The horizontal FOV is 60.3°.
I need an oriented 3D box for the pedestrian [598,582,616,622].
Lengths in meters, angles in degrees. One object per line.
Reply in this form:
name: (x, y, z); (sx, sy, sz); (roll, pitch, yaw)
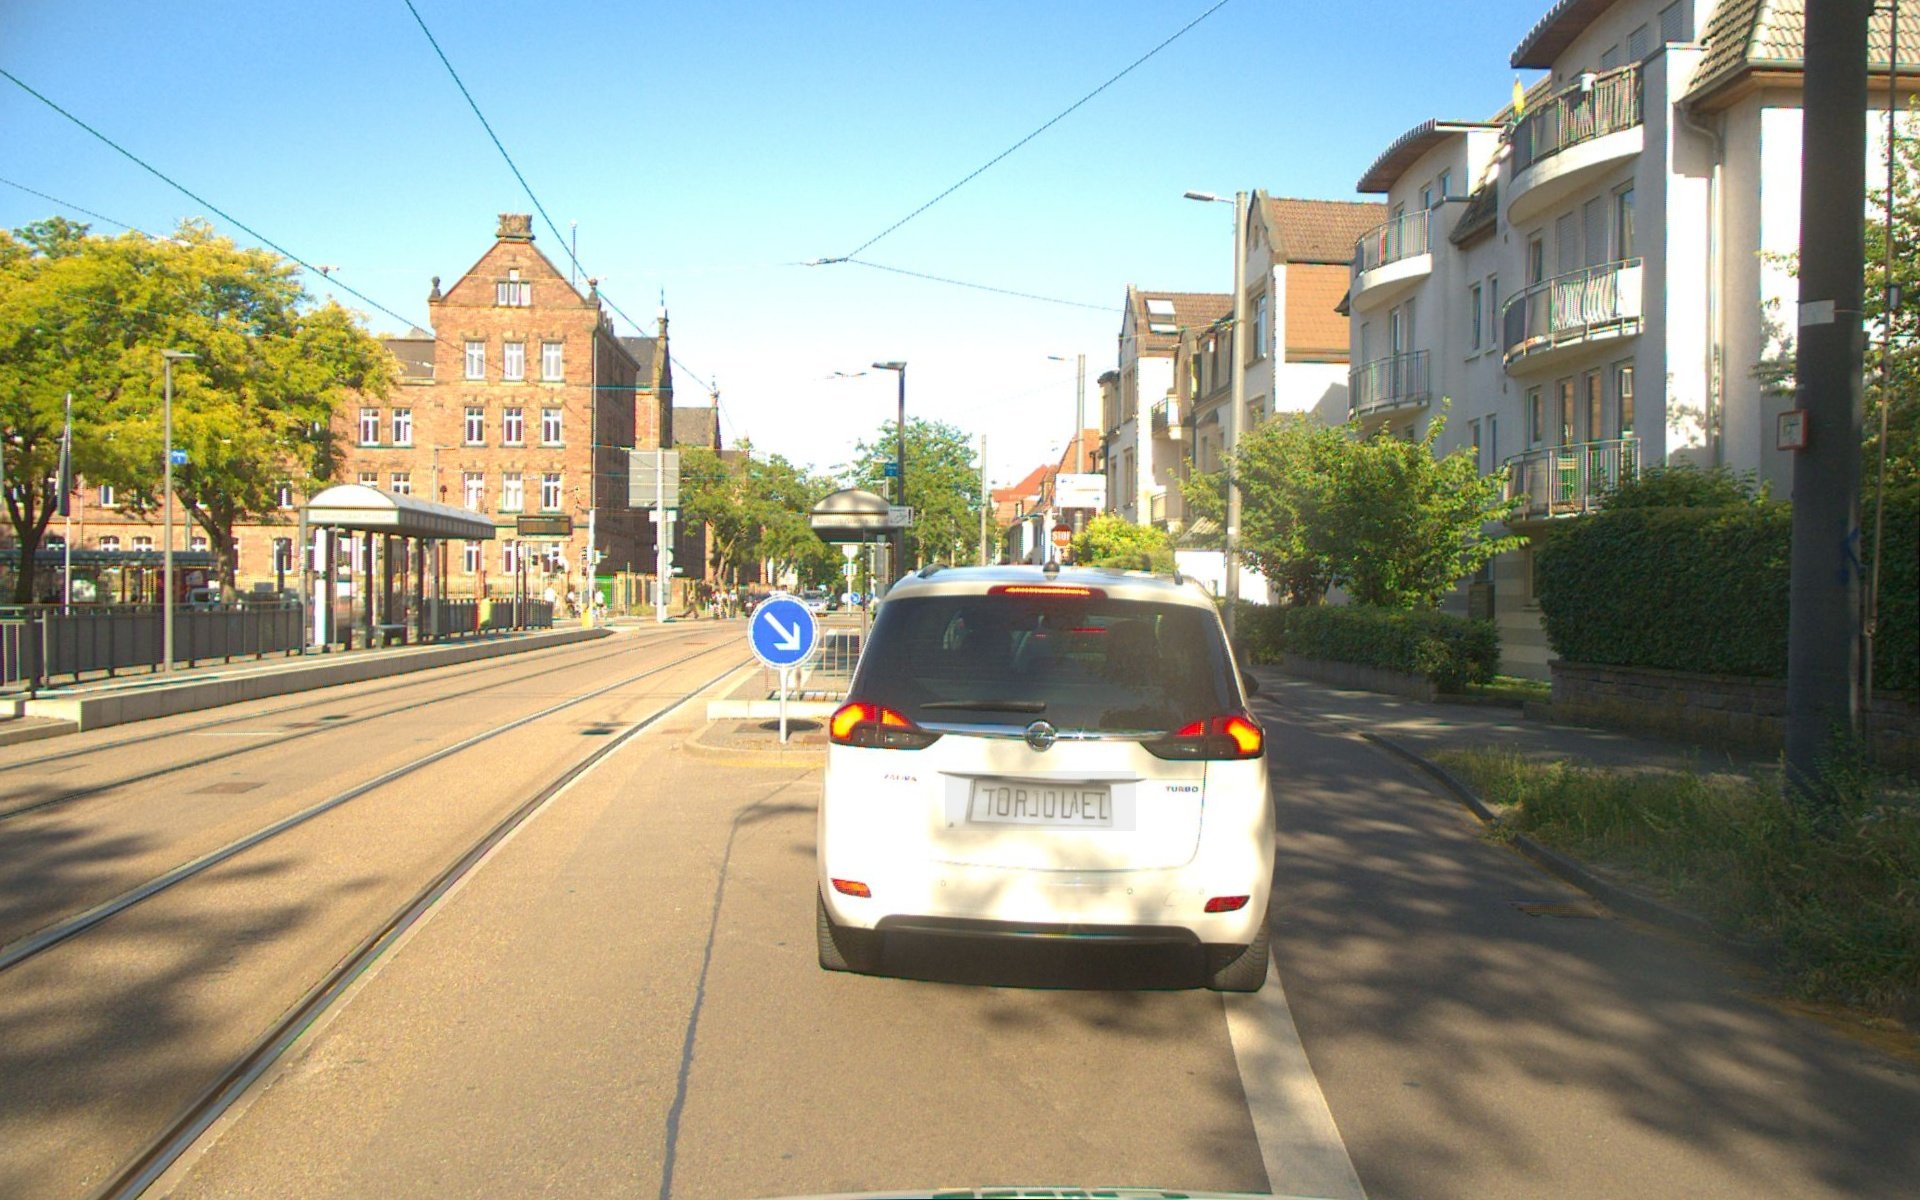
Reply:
pedestrian: (-18.082, 0.107, 84.691); (0.782, 2.049, 0.717); (1, -1, -18)

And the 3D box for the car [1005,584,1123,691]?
car: (1.789, 0.581, 28.286); (1.867, 1.690, 4.002); (0, 0, 4)

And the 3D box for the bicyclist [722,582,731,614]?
bicyclist: (-15.370, -0.129, 108.779); (0.488, 2.049, 0.572); (0, 0, -1)

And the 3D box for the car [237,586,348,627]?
car: (-28.115, 0.282, 69.745); (3.908, 1.658, 1.817); (1, 0, -4)

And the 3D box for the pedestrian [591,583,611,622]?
pedestrian: (-19.255, 0.132, 88.667); (0.789, 2.049, 0.711); (1, -1, -38)

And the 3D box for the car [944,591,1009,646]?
car: (0.503, 0.566, 53.082); (1.869, 1.690, 3.998); (0, 0, -2)

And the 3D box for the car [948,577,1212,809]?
car: (1.069, 0.648, 13.774); (1.866, 1.625, 4.003); (0, 0, 6)

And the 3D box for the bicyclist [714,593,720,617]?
bicyclist: (-15.104, 0.314, 102.802); (0.307, 1.469, 0.384); (0, 0, -1)

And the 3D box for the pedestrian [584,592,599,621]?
pedestrian: (-21.145, 0.390, 94.953); (0.640, 1.640, 0.711); (1, -1, 1)

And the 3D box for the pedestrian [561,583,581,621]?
pedestrian: (-20.709, 0.104, 88.022); (0.788, 2.049, 0.712); (1, -1, -34)

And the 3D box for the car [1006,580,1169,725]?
car: (1.680, 0.590, 21.007); (1.866, 1.653, 4.003); (0, 0, 6)

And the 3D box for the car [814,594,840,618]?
car: (-10.356, 0.473, 128.899); (1.711, 1.746, 3.999); (1, 0, -1)

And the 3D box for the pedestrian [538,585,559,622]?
pedestrian: (-22.064, 0.177, 88.664); (0.791, 1.934, 0.744); (1, -1, 13)

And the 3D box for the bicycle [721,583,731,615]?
bicycle: (-15.373, -0.079, 108.756); (0.477, 2.049, 1.405); (0, 0, -1)

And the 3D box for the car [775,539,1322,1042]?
car: (0.510, 0.631, 7.664); (1.866, 1.690, 4.003); (0, 0, 6)

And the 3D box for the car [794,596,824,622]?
car: (-10.470, 0.624, 115.043); (1.711, 1.746, 3.999); (1, 0, -1)

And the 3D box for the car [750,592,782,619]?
car: (-13.306, 0.383, 113.497); (1.711, 1.746, 3.999); (1, 0, -1)

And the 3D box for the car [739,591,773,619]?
car: (-13.160, 0.322, 106.833); (1.711, 1.746, 3.999); (1, 0, -1)

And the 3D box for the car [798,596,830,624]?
car: (-9.452, 0.645, 107.201); (1.711, 1.746, 3.999); (1, 0, -1)

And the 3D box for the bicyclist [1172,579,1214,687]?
bicyclist: (3.751, 0.524, 26.634); (0.603, 1.716, 0.779); (0, 0, 3)

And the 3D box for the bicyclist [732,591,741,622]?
bicyclist: (-15.099, 0.452, 111.684); (0.478, 2.049, 0.502); (1, -1, -1)

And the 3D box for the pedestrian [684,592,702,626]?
pedestrian: (-15.448, 0.526, 95.731); (0.734, 1.934, 0.801); (1, -1, -33)

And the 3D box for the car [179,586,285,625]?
car: (-32.446, 0.235, 73.819); (3.908, 1.658, 1.817); (1, 0, -4)

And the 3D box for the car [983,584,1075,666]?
car: (1.446, 0.510, 36.119); (1.868, 1.690, 4.000); (0, 0, 0)

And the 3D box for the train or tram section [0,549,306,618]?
train or tram section: (-40.748, -0.745, 79.421); (17.048, 3.210, 3.343); (0, 0, -6)

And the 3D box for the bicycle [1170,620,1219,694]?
bicycle: (3.756, 0.890, 26.615); (0.611, 1.116, 1.974); (0, 0, 3)
